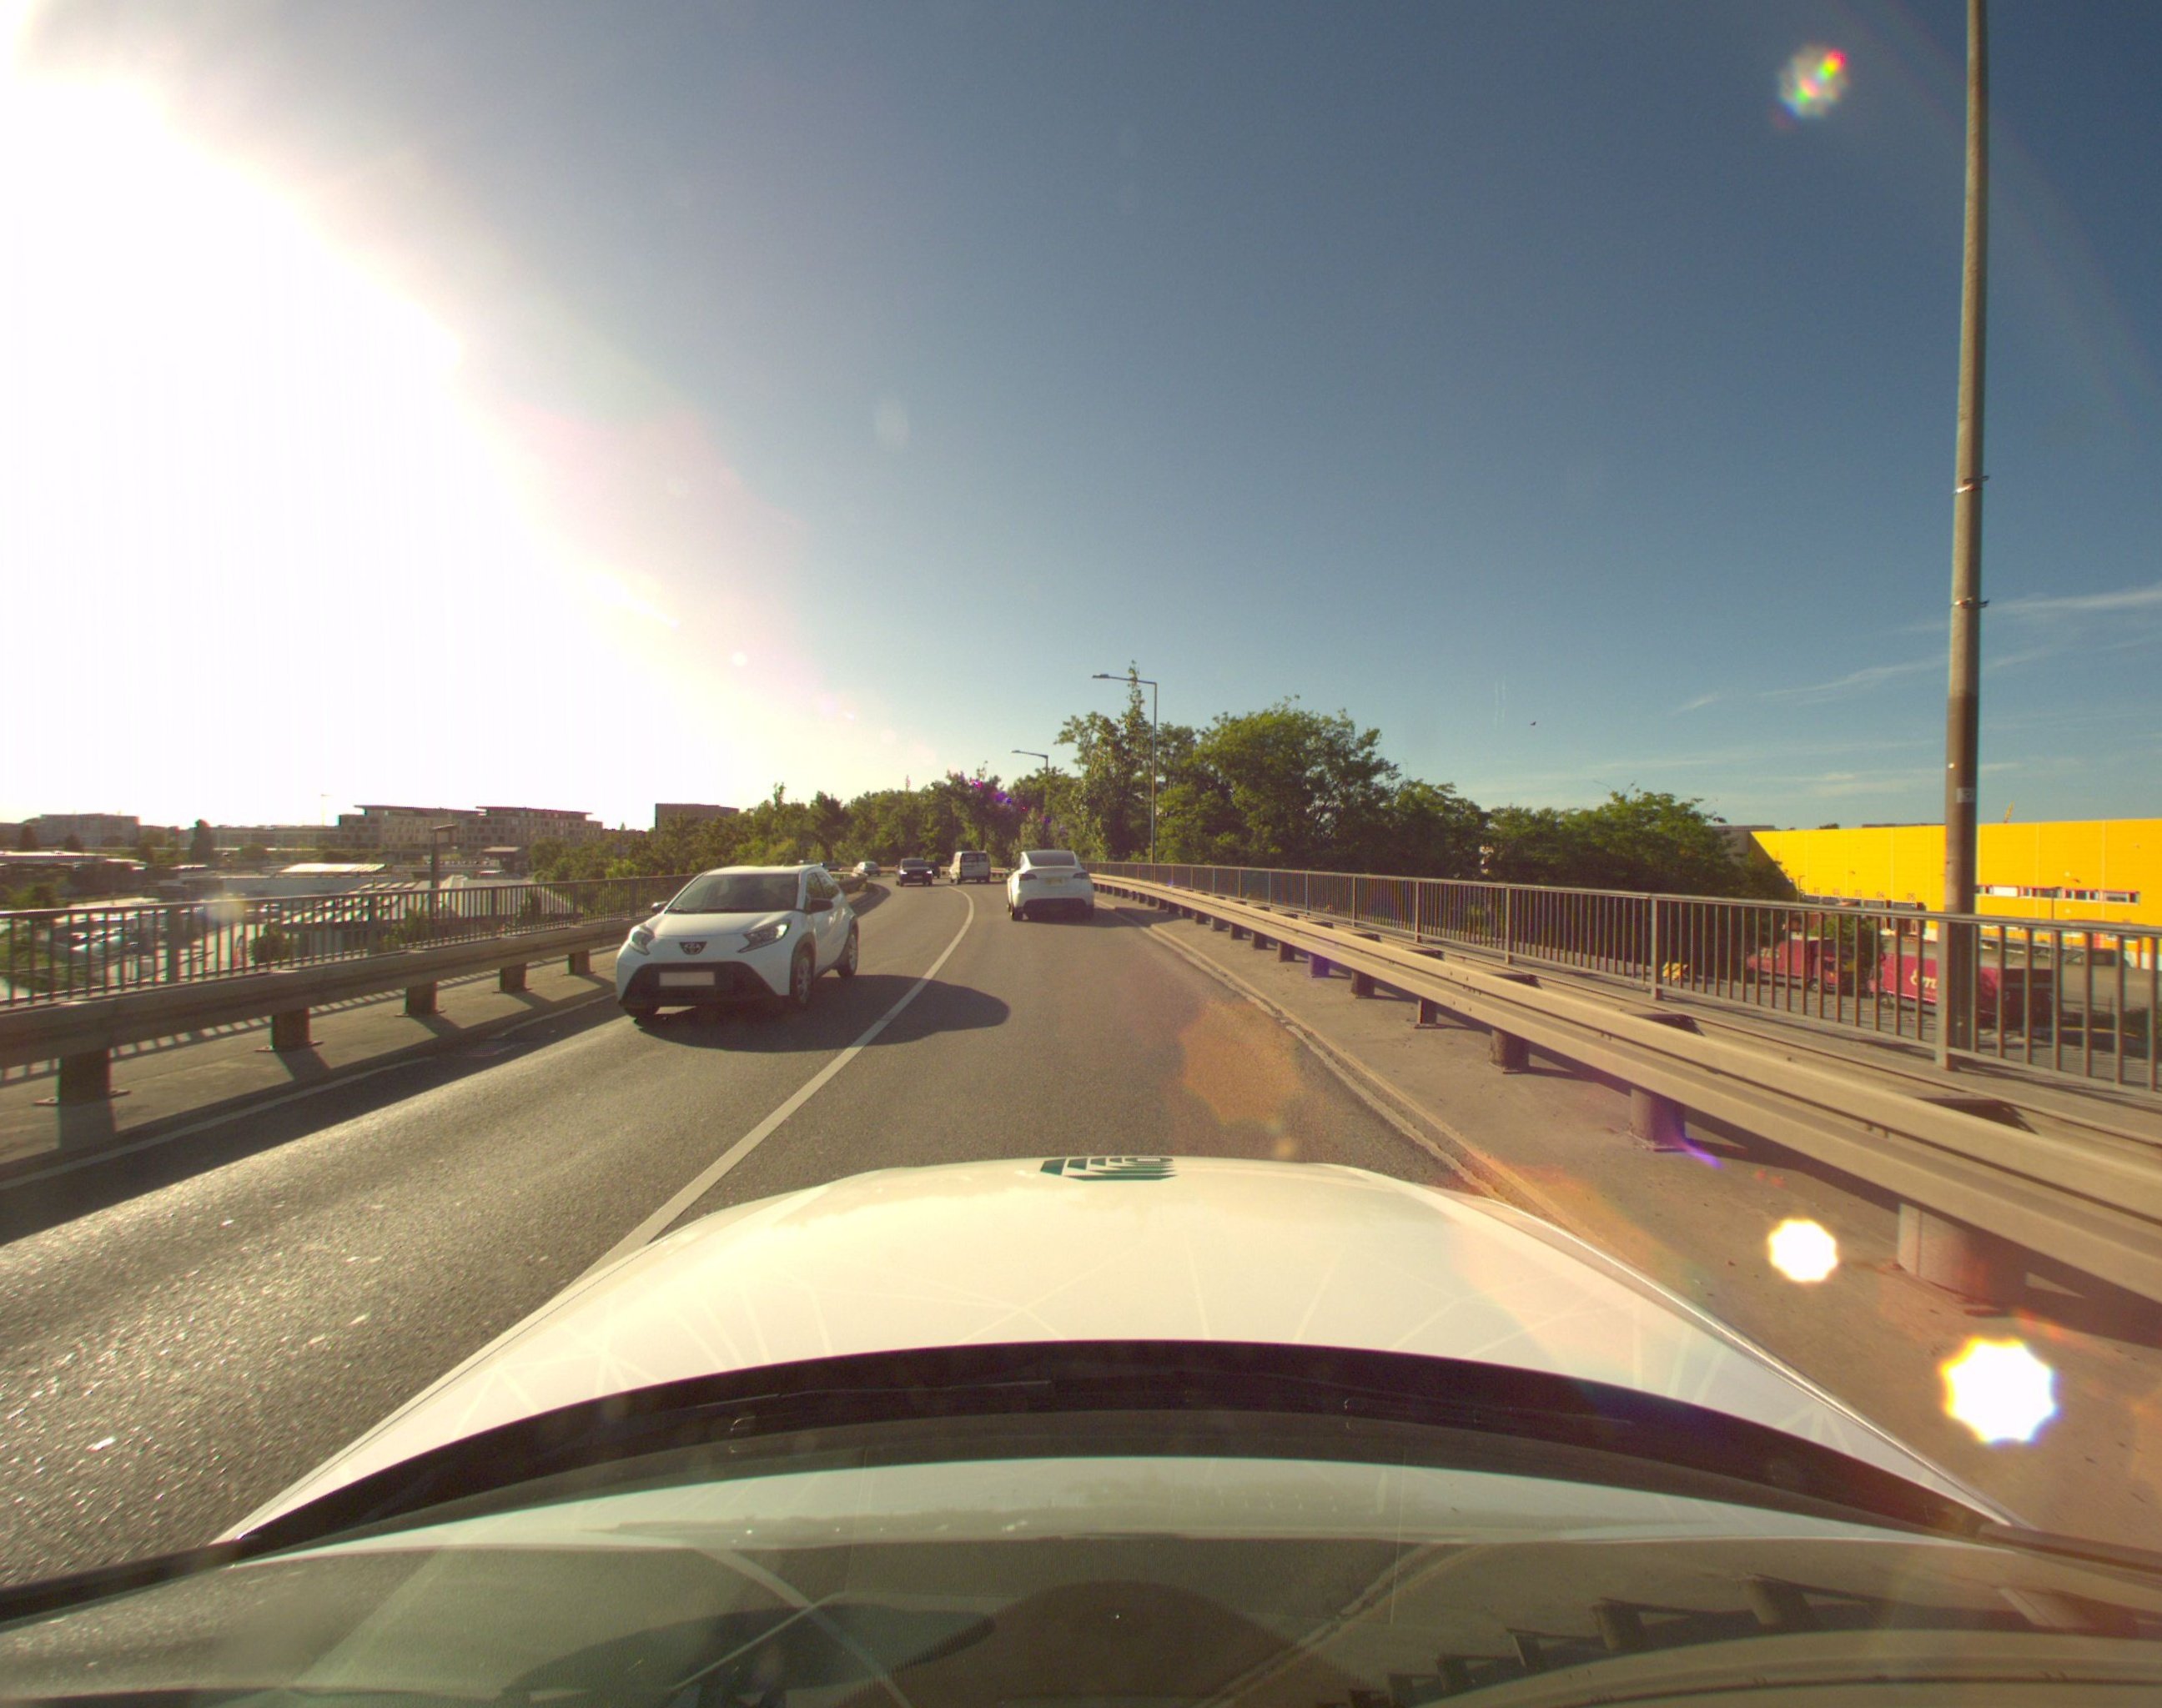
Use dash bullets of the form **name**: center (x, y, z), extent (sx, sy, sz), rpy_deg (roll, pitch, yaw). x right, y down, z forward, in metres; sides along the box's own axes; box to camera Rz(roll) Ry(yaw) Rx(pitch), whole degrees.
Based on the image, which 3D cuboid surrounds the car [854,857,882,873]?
- **car**: center (-21.808, 1.106, 83.313), extent (1.871, 1.585, 3.877), rpy_deg (-2, 0, -30)

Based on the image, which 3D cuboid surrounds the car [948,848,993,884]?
- **car**: center (-6.558, 0.697, 48.087), extent (2.009, 1.940, 4.443), rpy_deg (-2, 0, -16)

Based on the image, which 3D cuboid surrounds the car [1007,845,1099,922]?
- **car**: center (-0.785, 0.655, 20.006), extent (1.983, 1.638, 4.054), rpy_deg (-1, 0, -6)

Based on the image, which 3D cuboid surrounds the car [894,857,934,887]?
- **car**: center (-9.619, 0.990, 46.824), extent (1.828, 1.552, 4.160), rpy_deg (-2, 0, -17)

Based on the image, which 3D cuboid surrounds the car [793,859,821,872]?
- **car**: center (-34.235, 1.400, 101.640), extent (1.852, 1.555, 3.845), rpy_deg (-2, 0, -44)

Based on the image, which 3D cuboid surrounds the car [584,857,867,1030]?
- **car**: center (-3.796, 0.833, 9.470), extent (1.834, 1.519, 3.764), rpy_deg (-2, 0, -5)

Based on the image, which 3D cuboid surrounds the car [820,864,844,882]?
- **car**: center (-25.365, 1.890, 82.831), extent (1.906, 1.643, 4.430), rpy_deg (-2, 0, -22)

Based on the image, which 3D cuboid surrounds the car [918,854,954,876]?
- **car**: center (-11.521, 0.889, 64.459), extent (1.977, 1.638, 3.969), rpy_deg (-2, -1, -23)
